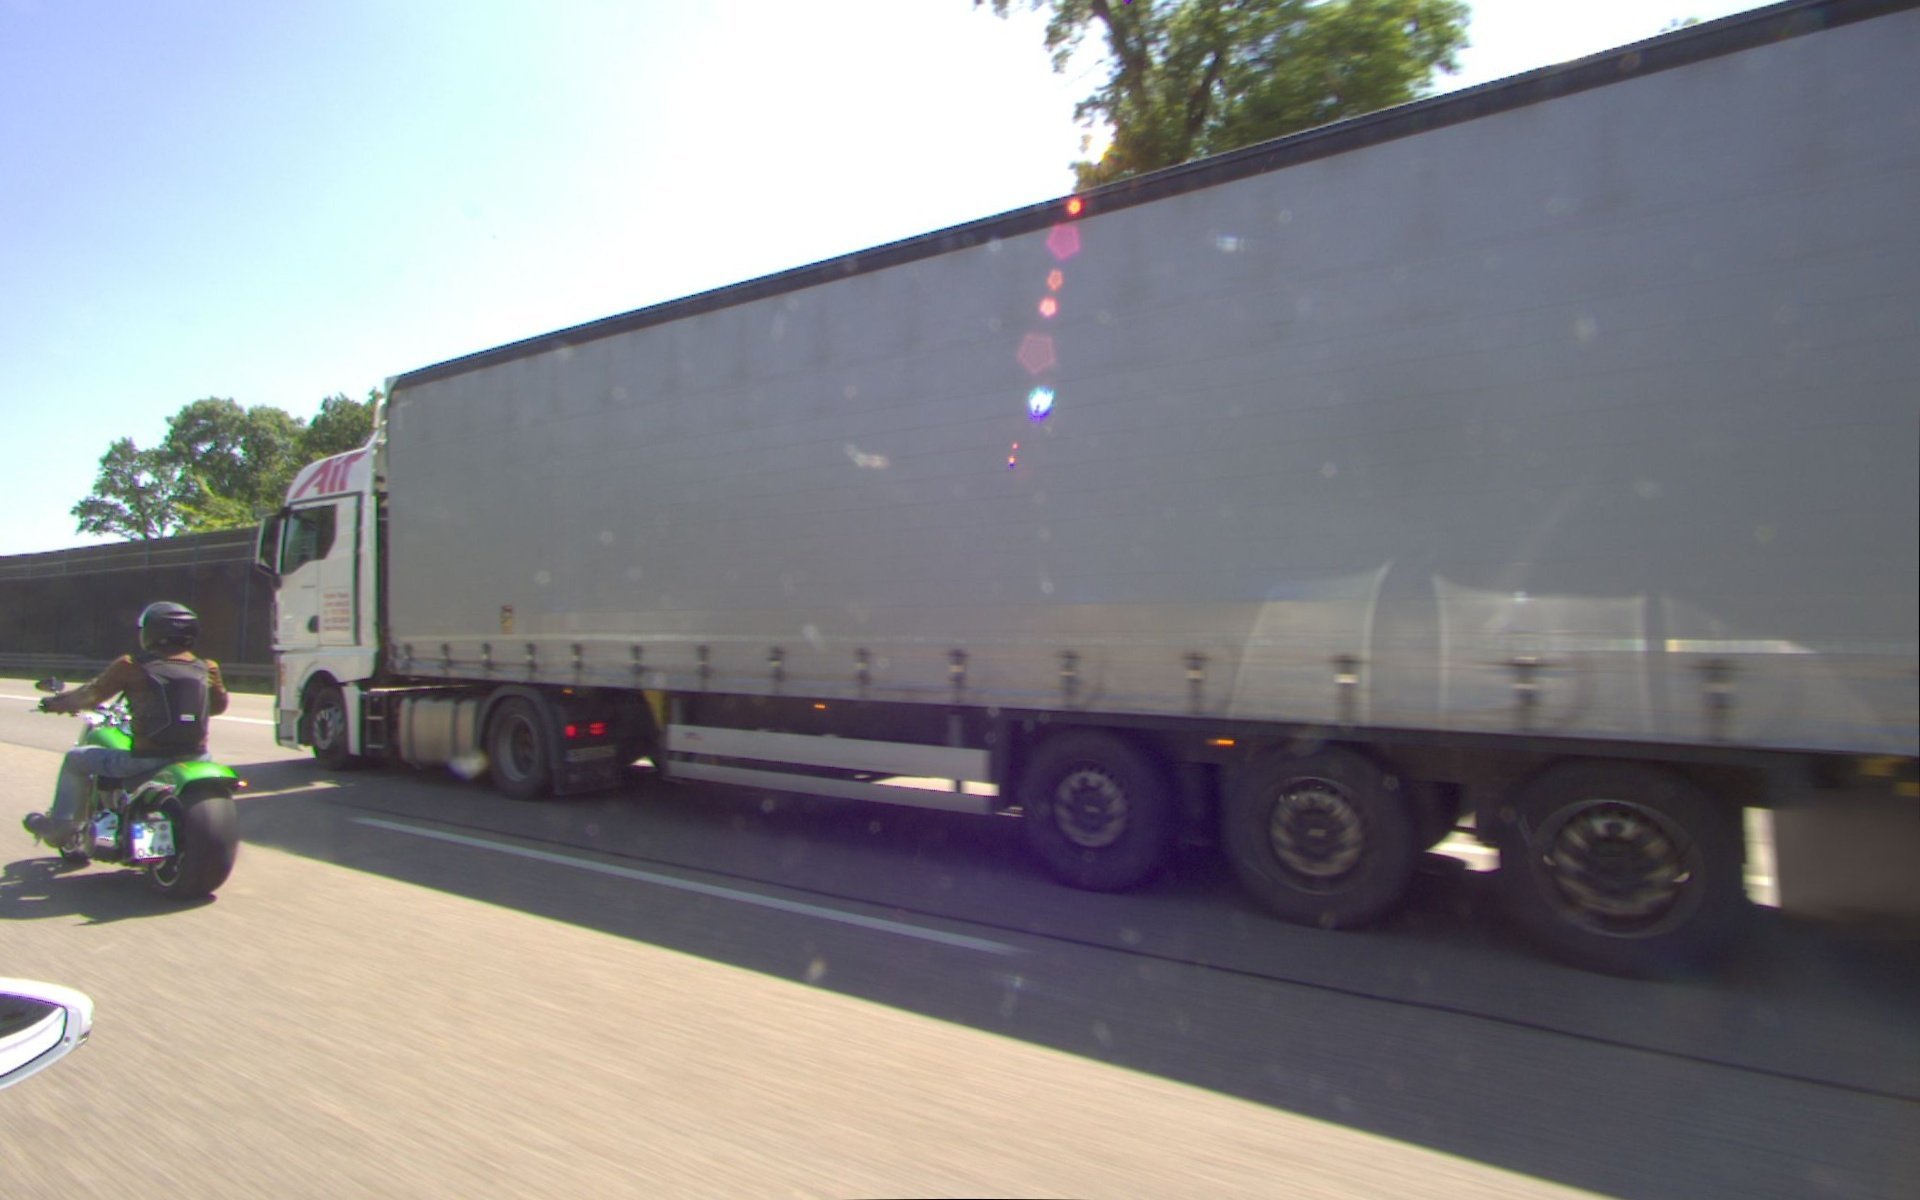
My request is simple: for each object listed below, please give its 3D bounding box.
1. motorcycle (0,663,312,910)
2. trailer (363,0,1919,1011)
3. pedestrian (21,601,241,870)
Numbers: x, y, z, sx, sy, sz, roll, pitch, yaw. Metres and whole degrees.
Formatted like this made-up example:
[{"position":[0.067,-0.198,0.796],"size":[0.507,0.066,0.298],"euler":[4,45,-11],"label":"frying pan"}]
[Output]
[{"position":[-4.960,1.011,6.069],"size":[2.244,1.196,0.858],"euler":[-1,-2,32],"label":"motorcycle"},{"position":[0.282,-0.418,7.395],"size":[13.406,4.142,2.593],"euler":[-2,-2,34],"label":"trailer"},{"position":[-5.042,0.776,6.121],"size":[0.629,1.497,0.850],"euler":[0,-2,32],"label":"pedestrian"}]
